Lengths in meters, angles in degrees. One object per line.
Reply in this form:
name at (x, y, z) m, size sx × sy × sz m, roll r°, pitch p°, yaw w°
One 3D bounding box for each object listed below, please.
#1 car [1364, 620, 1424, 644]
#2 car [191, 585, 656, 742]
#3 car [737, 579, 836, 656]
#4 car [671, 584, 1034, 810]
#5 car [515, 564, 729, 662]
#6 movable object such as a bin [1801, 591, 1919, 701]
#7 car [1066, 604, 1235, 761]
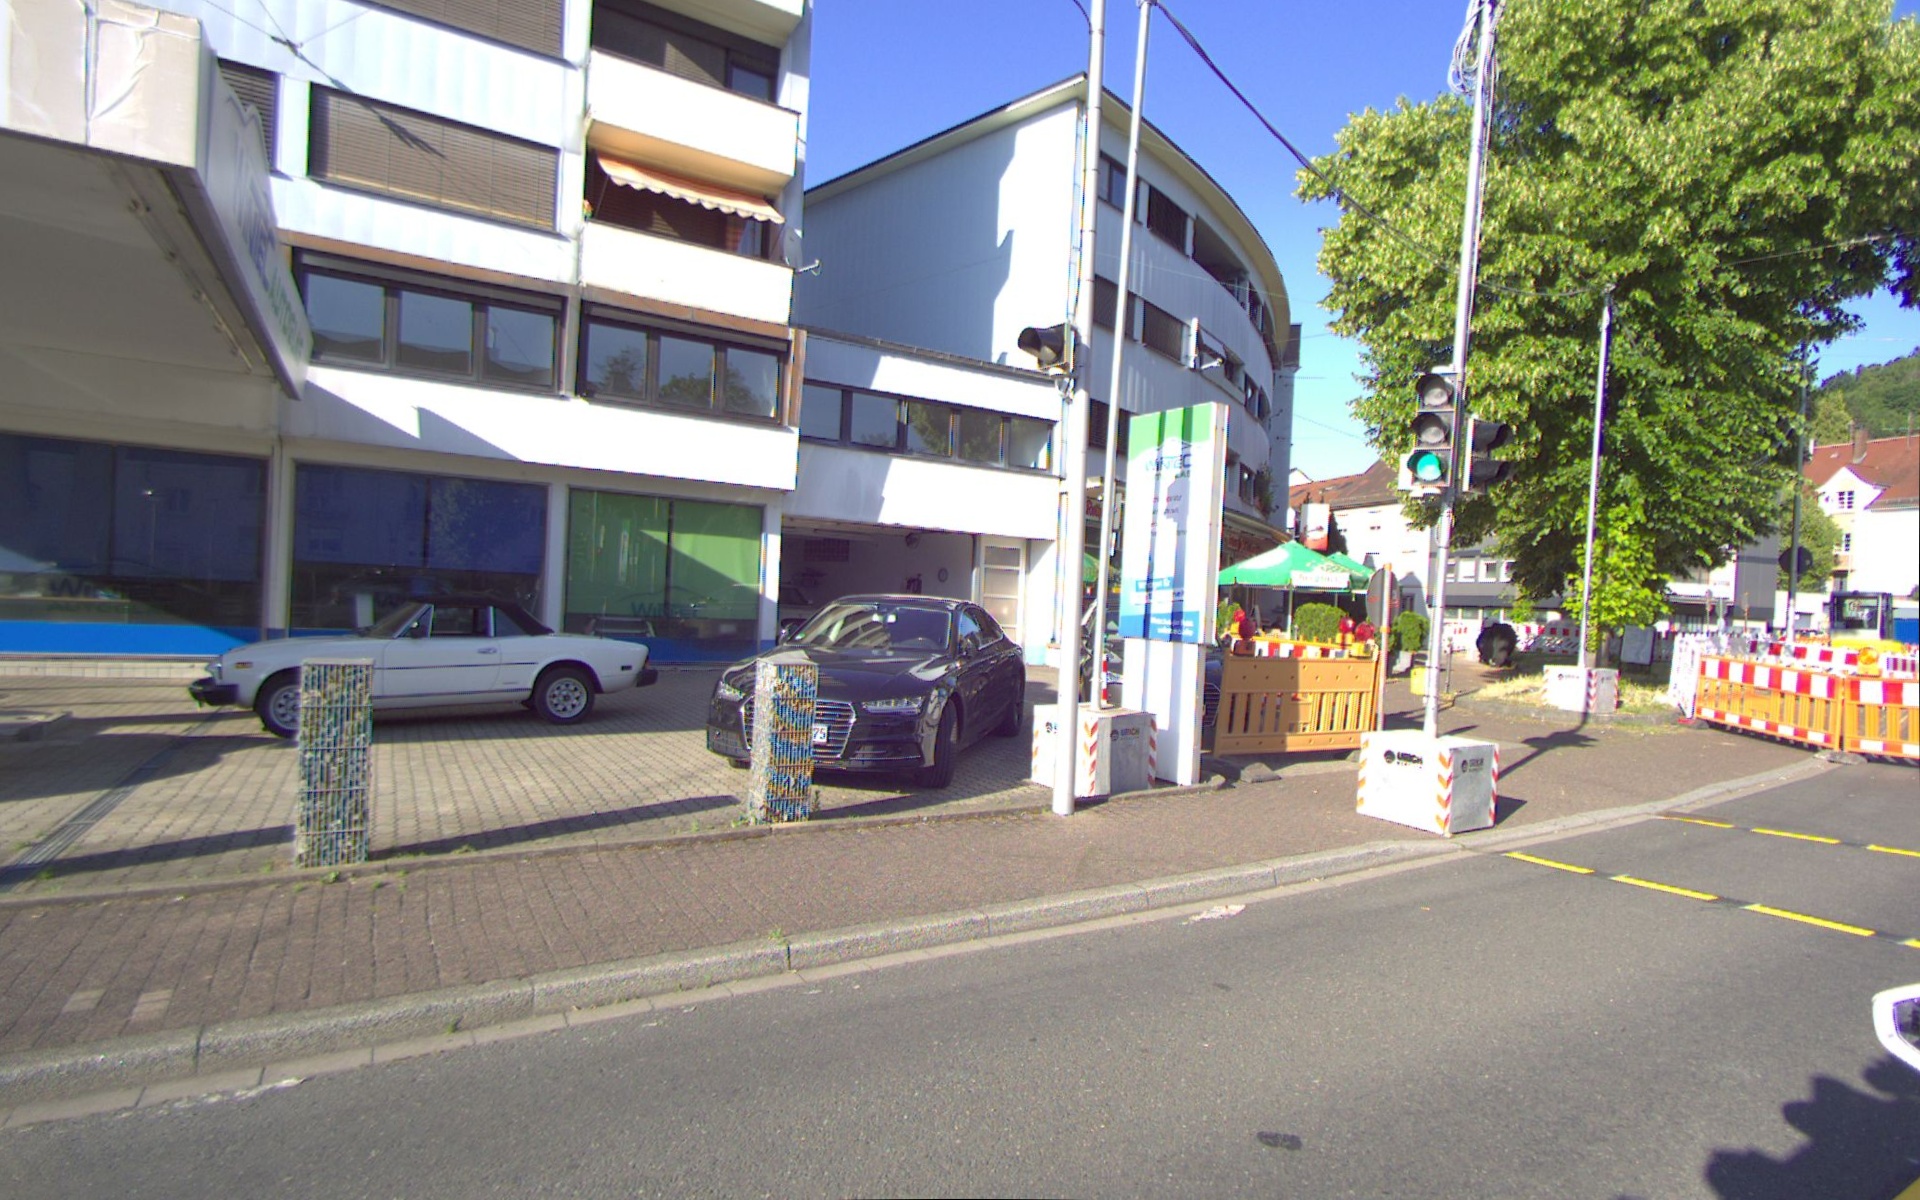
car at (29.146, 2.173, 67.529) m, size 3.352 × 1.430 × 1.510 m, roll 2°, pitch 1°, yaw -9°
car at (-5.230, 0.595, 10.136) m, size 3.864 × 1.315 × 1.511 m, roll 2°, pitch -1°, yaw -34°
car at (-4.216, 0.365, 24.019) m, size 1.549 × 1.629 × 3.735 m, roll 2°, pitch 0°, yaw -22°
car at (-0.597, 0.686, 9.140) m, size 1.893 × 1.457 × 4.692 m, roll 1°, pitch -1°, yaw 12°
car at (-6.499, 0.276, 19.386) m, size 3.592 × 1.695 × 1.708 m, roll 3°, pitch -1°, yaw -33°
movable object such as a bin at (21.228, 1.036, 23.303) m, size 3.881 × 2.355 × 1.636 m, roll 2°, pitch 0°, yaw -35°
car at (2.226, 0.825, 11.600) m, size 1.564 × 1.457 × 3.887 m, roll 1°, pitch -1°, yaw 12°
